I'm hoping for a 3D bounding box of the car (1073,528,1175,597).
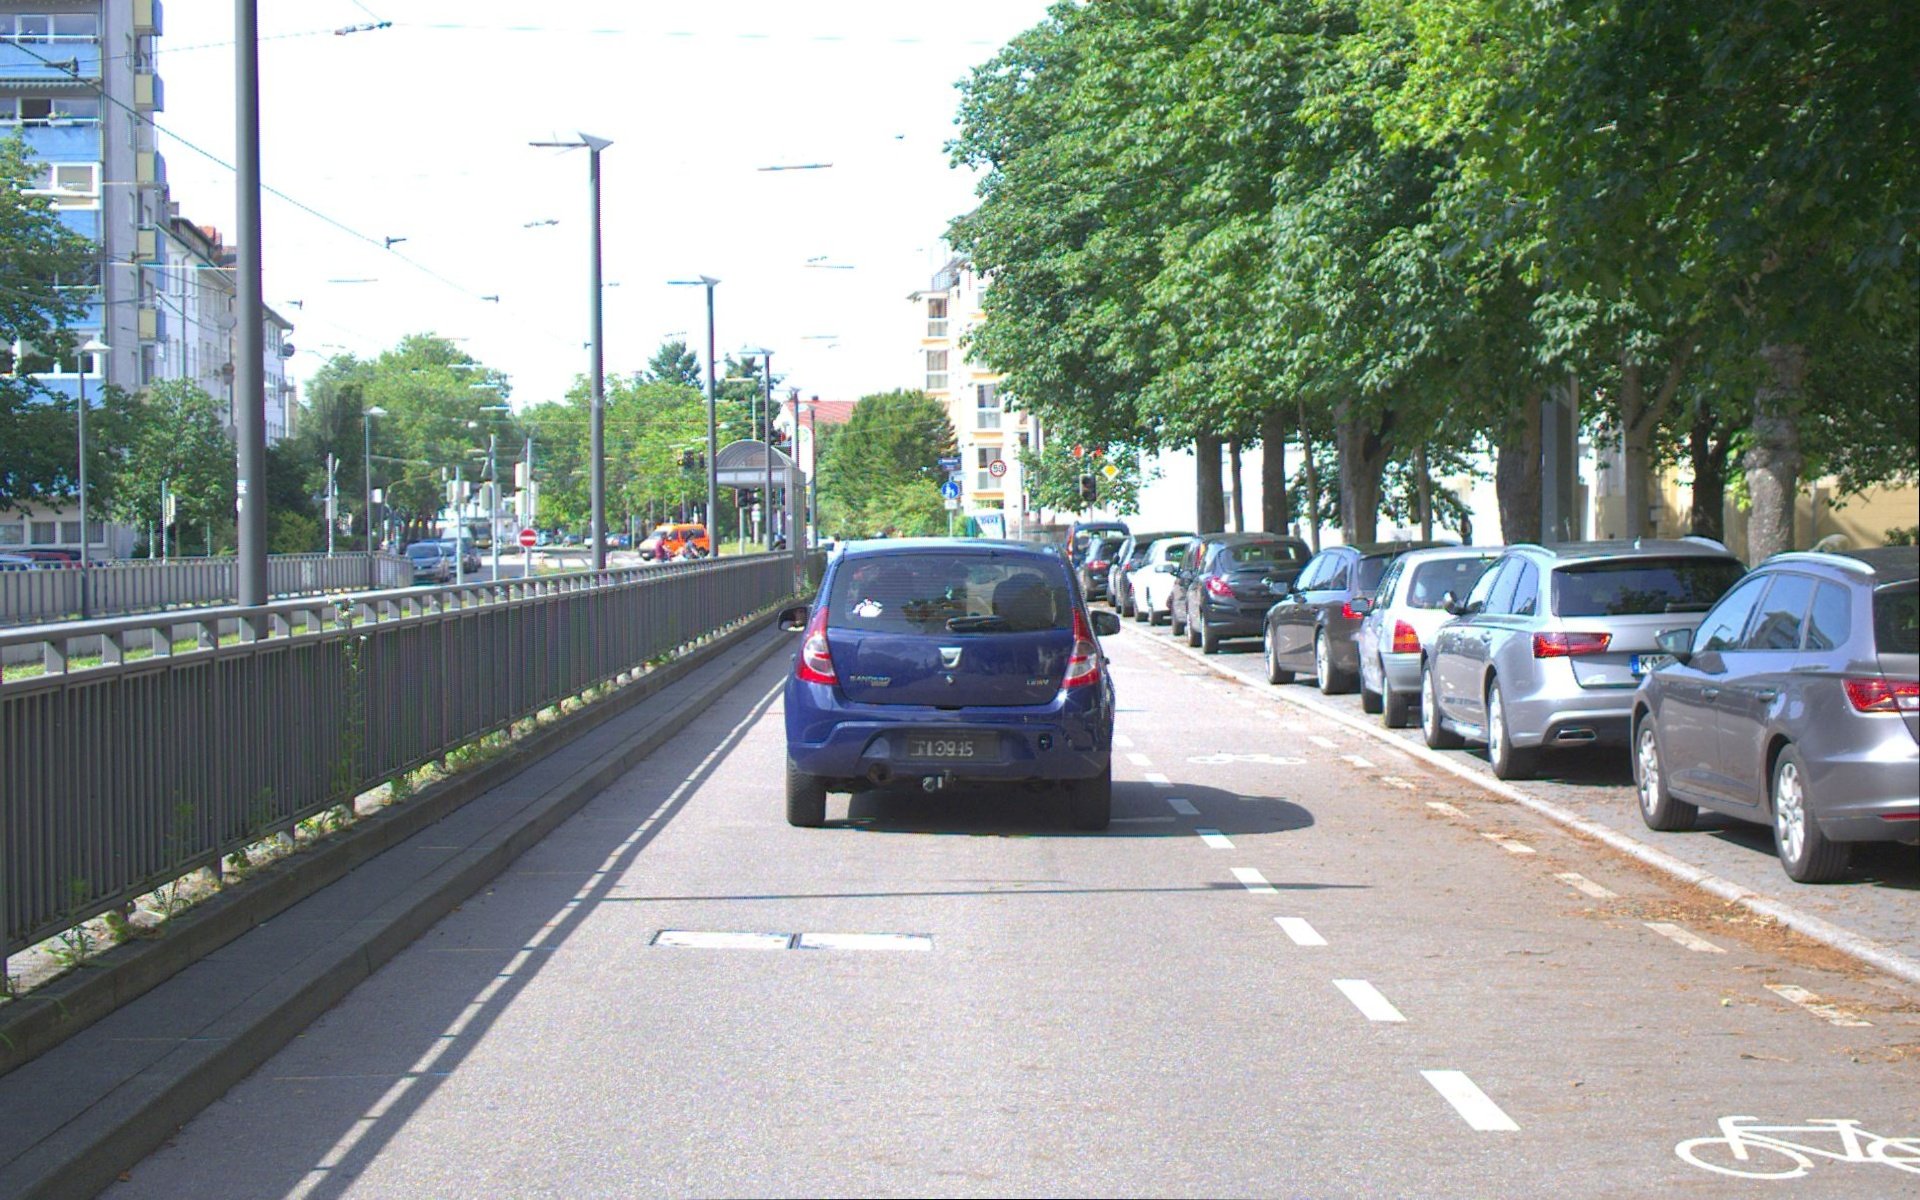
[{"bbox_3d":[3.763,-0.891,79.522,1.917,1.437,4.797,-3,2,-2],"label":"car"}]

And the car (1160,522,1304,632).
[{"bbox_3d":[3.978,-0.340,50.772,1.555,1.456,3.559,-4,1,-3],"label":"car"}]

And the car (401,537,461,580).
[{"bbox_3d":[-20.664,-1.623,134.417,1.993,1.639,4.001,1,0,-4],"label":"car"}]

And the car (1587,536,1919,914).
[{"bbox_3d":[4.446,0.469,16.403,1.829,1.395,4.658,-4,2,-2],"label":"car"}]

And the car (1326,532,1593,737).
[{"bbox_3d":[3.996,0.223,28.039,1.636,1.426,4.015,-3,2,2],"label":"car"}]

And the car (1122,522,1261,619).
[{"bbox_3d":[3.968,-0.529,59.510,1.835,1.518,4.254,-3,1,-3],"label":"car"}]

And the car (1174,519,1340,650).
[{"bbox_3d":[3.885,-0.236,45.576,1.690,1.556,4.308,-4,1,-1],"label":"car"}]

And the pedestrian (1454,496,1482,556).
[{"bbox_3d":[13.698,-1.999,92.709,0.631,1.590,0.540,-1,0,-3],"label":"pedestrian"}]

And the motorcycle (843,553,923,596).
[{"bbox_3d":[-2.506,-0.830,111.613,2.508,1.334,1.018,-1,1,-5],"label":"motorcycle"}]

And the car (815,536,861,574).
[{"bbox_3d":[-4.794,-1.763,134.788,1.622,1.460,3.511,1,0,-5],"label":"car"}]

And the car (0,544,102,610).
[{"bbox_3d":[-23.298,-0.566,85.052,3.655,1.574,1.649,-2,2,-31],"label":"car"}]

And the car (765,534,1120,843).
[{"bbox_3d":[-0.127,0.405,19.086,1.744,1.501,4.000,1,1,-1],"label":"car"}]

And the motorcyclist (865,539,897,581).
[{"bbox_3d":[-2.553,-1.288,111.634,0.983,1.334,0.941,-1,1,-3],"label":"motorcyclist"}]

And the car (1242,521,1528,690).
[{"bbox_3d":[4.102,0.043,33.981,1.831,1.462,4.832,-3,0,-4],"label":"car"}]

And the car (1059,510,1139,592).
[{"bbox_3d":[3.410,-1.237,84.873,1.823,1.889,4.184,-2,2,1],"label":"car"}]

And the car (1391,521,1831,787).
[{"bbox_3d":[4.165,0.262,22.829,1.829,1.436,5.050,-4,2,-1],"label":"car"}]
